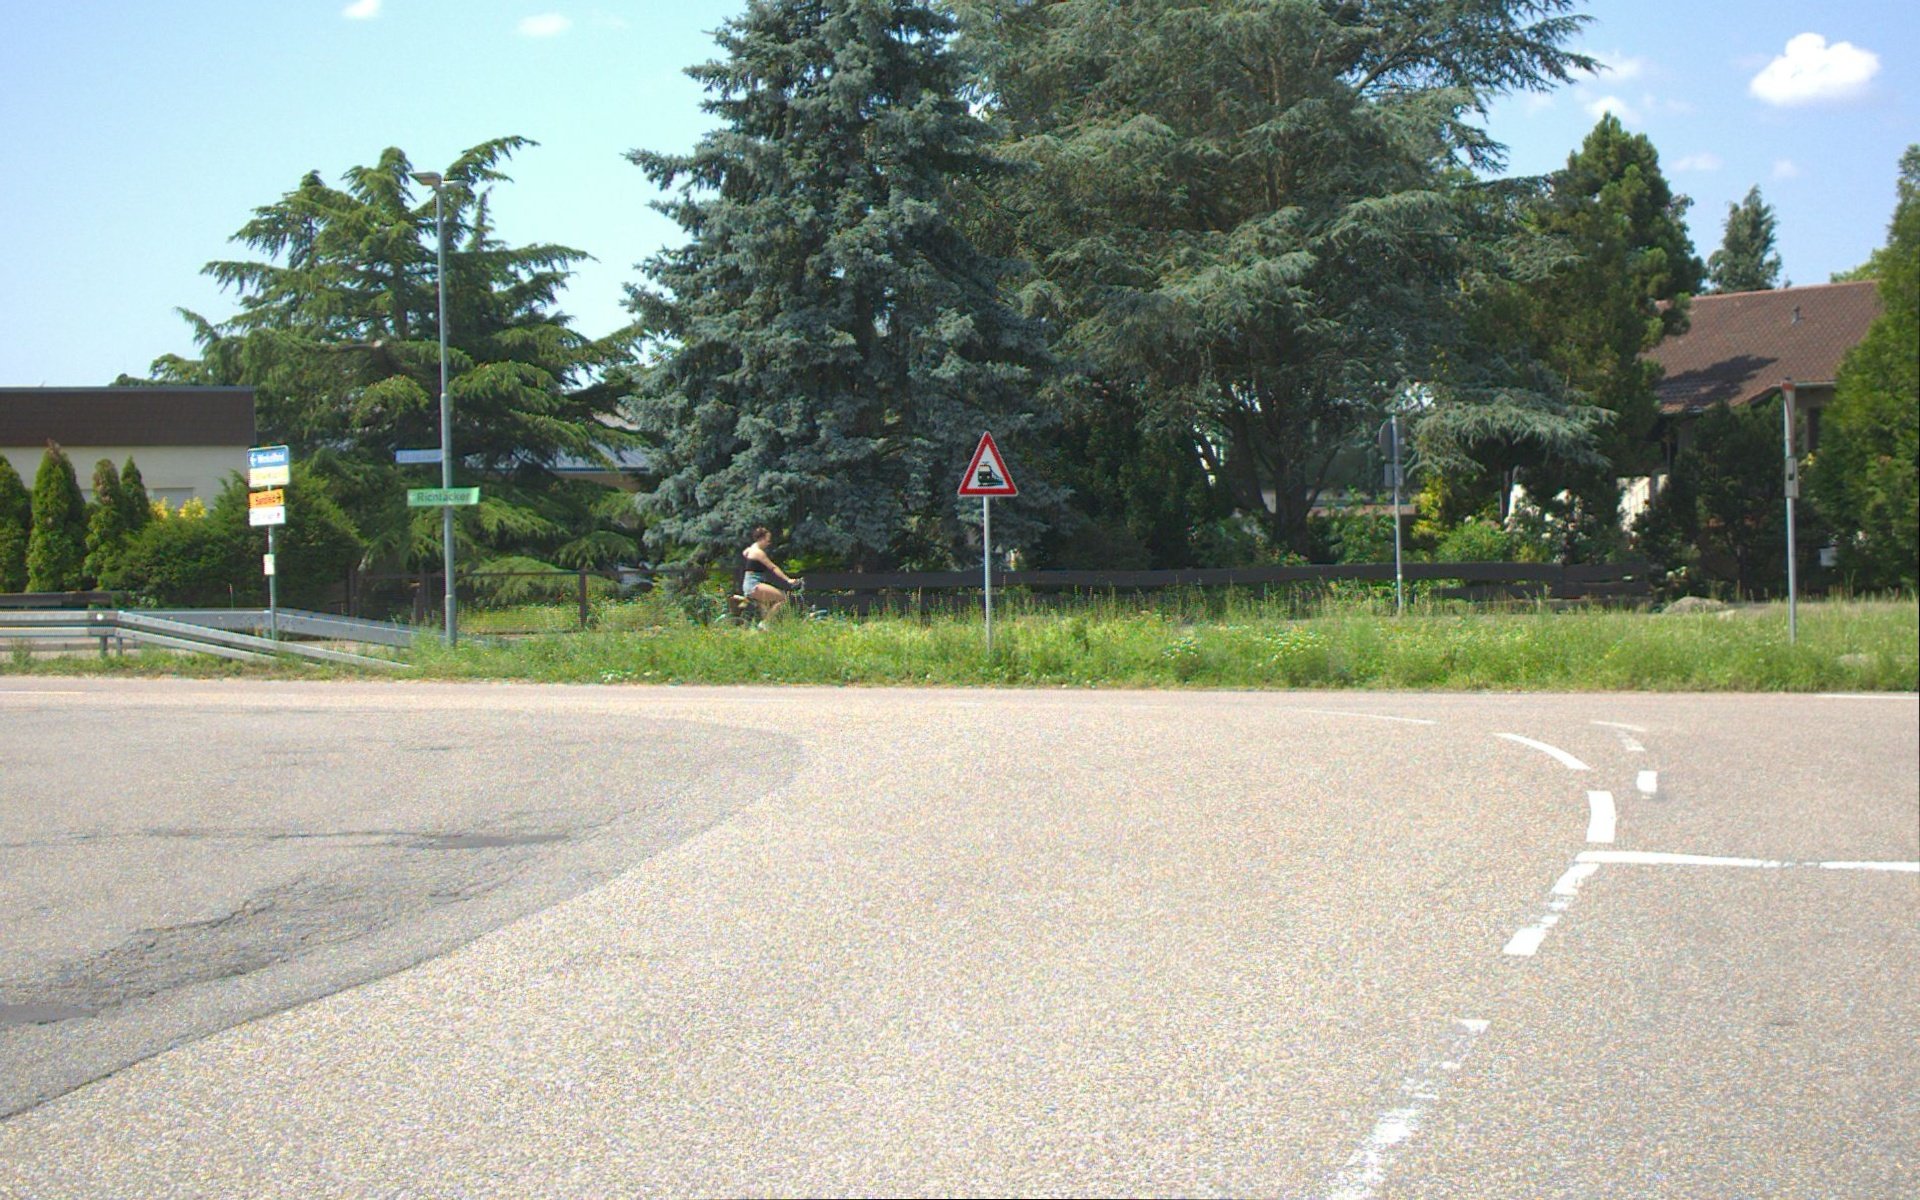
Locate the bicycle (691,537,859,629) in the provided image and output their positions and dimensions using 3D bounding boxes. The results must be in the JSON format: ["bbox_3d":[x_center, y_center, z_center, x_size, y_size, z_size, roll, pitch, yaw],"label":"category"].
[{"bbox_3d":[-2.414,-0.223,44.738,2.139,1.161,0.661,-1,1,-6],"label":"bicycle"}]

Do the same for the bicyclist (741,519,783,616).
[{"bbox_3d":[-2.574,-0.423,44.703,0.510,1.251,0.469,-1,1,-7],"label":"bicyclist"}]
